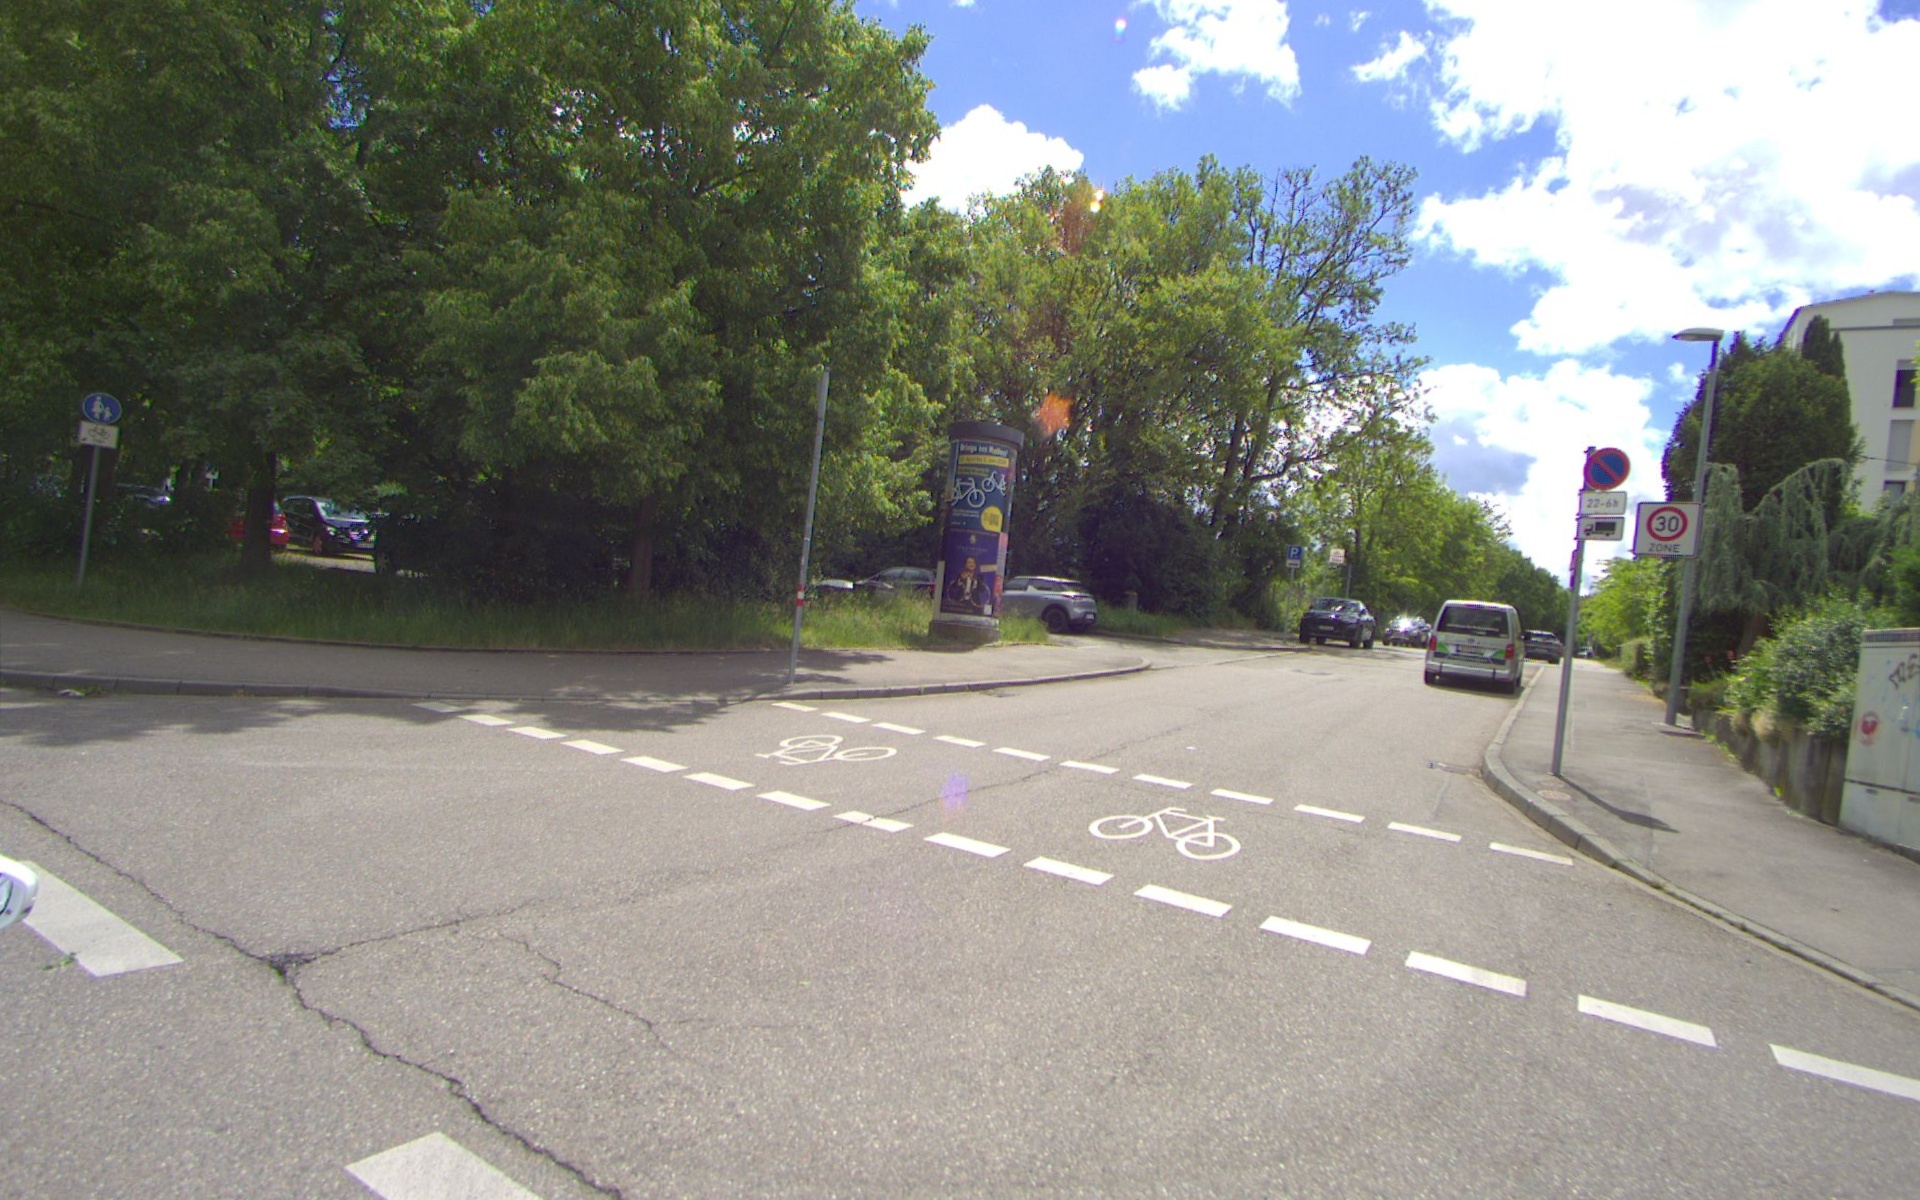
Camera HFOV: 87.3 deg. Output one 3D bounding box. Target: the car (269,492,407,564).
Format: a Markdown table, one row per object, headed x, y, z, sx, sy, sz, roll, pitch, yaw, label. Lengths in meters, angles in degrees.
| x | y | z | sx | sy | sz | roll | pitch | yaw | label |
| --- | --- | --- | --- | --- | --- | --- | --- | --- | --- |
| -17.428 | -2.019 | 28.162 | 3.601 | 1.602 | 1.754 | 7 | 1 | 31 | car |

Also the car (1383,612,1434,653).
| x | y | z | sx | sy | sz | roll | pitch | yaw | label |
| --- | --- | --- | --- | --- | --- | --- | --- | --- | --- |
| 25.324 | 1.829 | 56.712 | 1.967 | 2.040 | 3.989 | 7 | 2 | 31 | car |

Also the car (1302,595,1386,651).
| x | y | z | sx | sy | sz | roll | pitch | yaw | label |
| --- | --- | --- | --- | --- | --- | --- | --- | --- | --- |
| 13.466 | 0.835 | 35.143 | 1.966 | 1.605 | 4.318 | 7 | 1 | 29 | car |

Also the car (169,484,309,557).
| x | y | z | sx | sy | sz | roll | pitch | yaw | label |
| --- | --- | --- | --- | --- | --- | --- | --- | --- | --- |
| -19.010 | -2.098 | 26.502 | 3.601 | 1.520 | 1.662 | 7 | 1 | 31 | car |

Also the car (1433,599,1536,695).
| x | y | z | sx | sy | sz | roll | pitch | yaw | label |
| --- | --- | --- | --- | --- | --- | --- | --- | --- | --- |
| 11.512 | 0.999 | 21.950 | 1.662 | 1.739 | 3.990 | 7 | 2 | 30 | car |

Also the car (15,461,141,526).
| x | y | z | sx | sy | sz | roll | pitch | yaw | label |
| --- | --- | --- | --- | --- | --- | --- | --- | --- | --- |
| -26.256 | -3.181 | 29.914 | 4.069 | 1.534 | 1.627 | 7 | 2 | 31 | car |

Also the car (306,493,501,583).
| x | y | z | sx | sy | sz | roll | pitch | yaw | label |
| --- | --- | --- | --- | --- | --- | --- | --- | --- | --- |
| -11.916 | -1.322 | 21.517 | 3.749 | 1.529 | 1.827 | 5 | -1 | 29 | car |

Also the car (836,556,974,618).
| x | y | z | sx | sy | sz | roll | pitch | yaw | label |
| --- | --- | --- | --- | --- | --- | --- | --- | --- | --- |
| -1.734 | -0.405 | 31.330 | 3.915 | 1.488 | 1.638 | 7 | 1 | 30 | car |

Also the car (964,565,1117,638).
| x | y | z | sx | sy | sz | roll | pitch | yaw | label |
| --- | --- | --- | --- | --- | --- | --- | --- | --- | --- |
| 2.265 | 0.035 | 28.684 | 3.915 | 1.605 | 1.638 | 7 | 1 | 30 | car |

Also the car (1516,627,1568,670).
| x | y | z | sx | sy | sz | roll | pitch | yaw | label |
| --- | --- | --- | --- | --- | --- | --- | --- | --- | --- |
| 28.169 | 2.322 | 48.722 | 1.918 | 1.739 | 3.990 | 7 | 2 | 30 | car |
